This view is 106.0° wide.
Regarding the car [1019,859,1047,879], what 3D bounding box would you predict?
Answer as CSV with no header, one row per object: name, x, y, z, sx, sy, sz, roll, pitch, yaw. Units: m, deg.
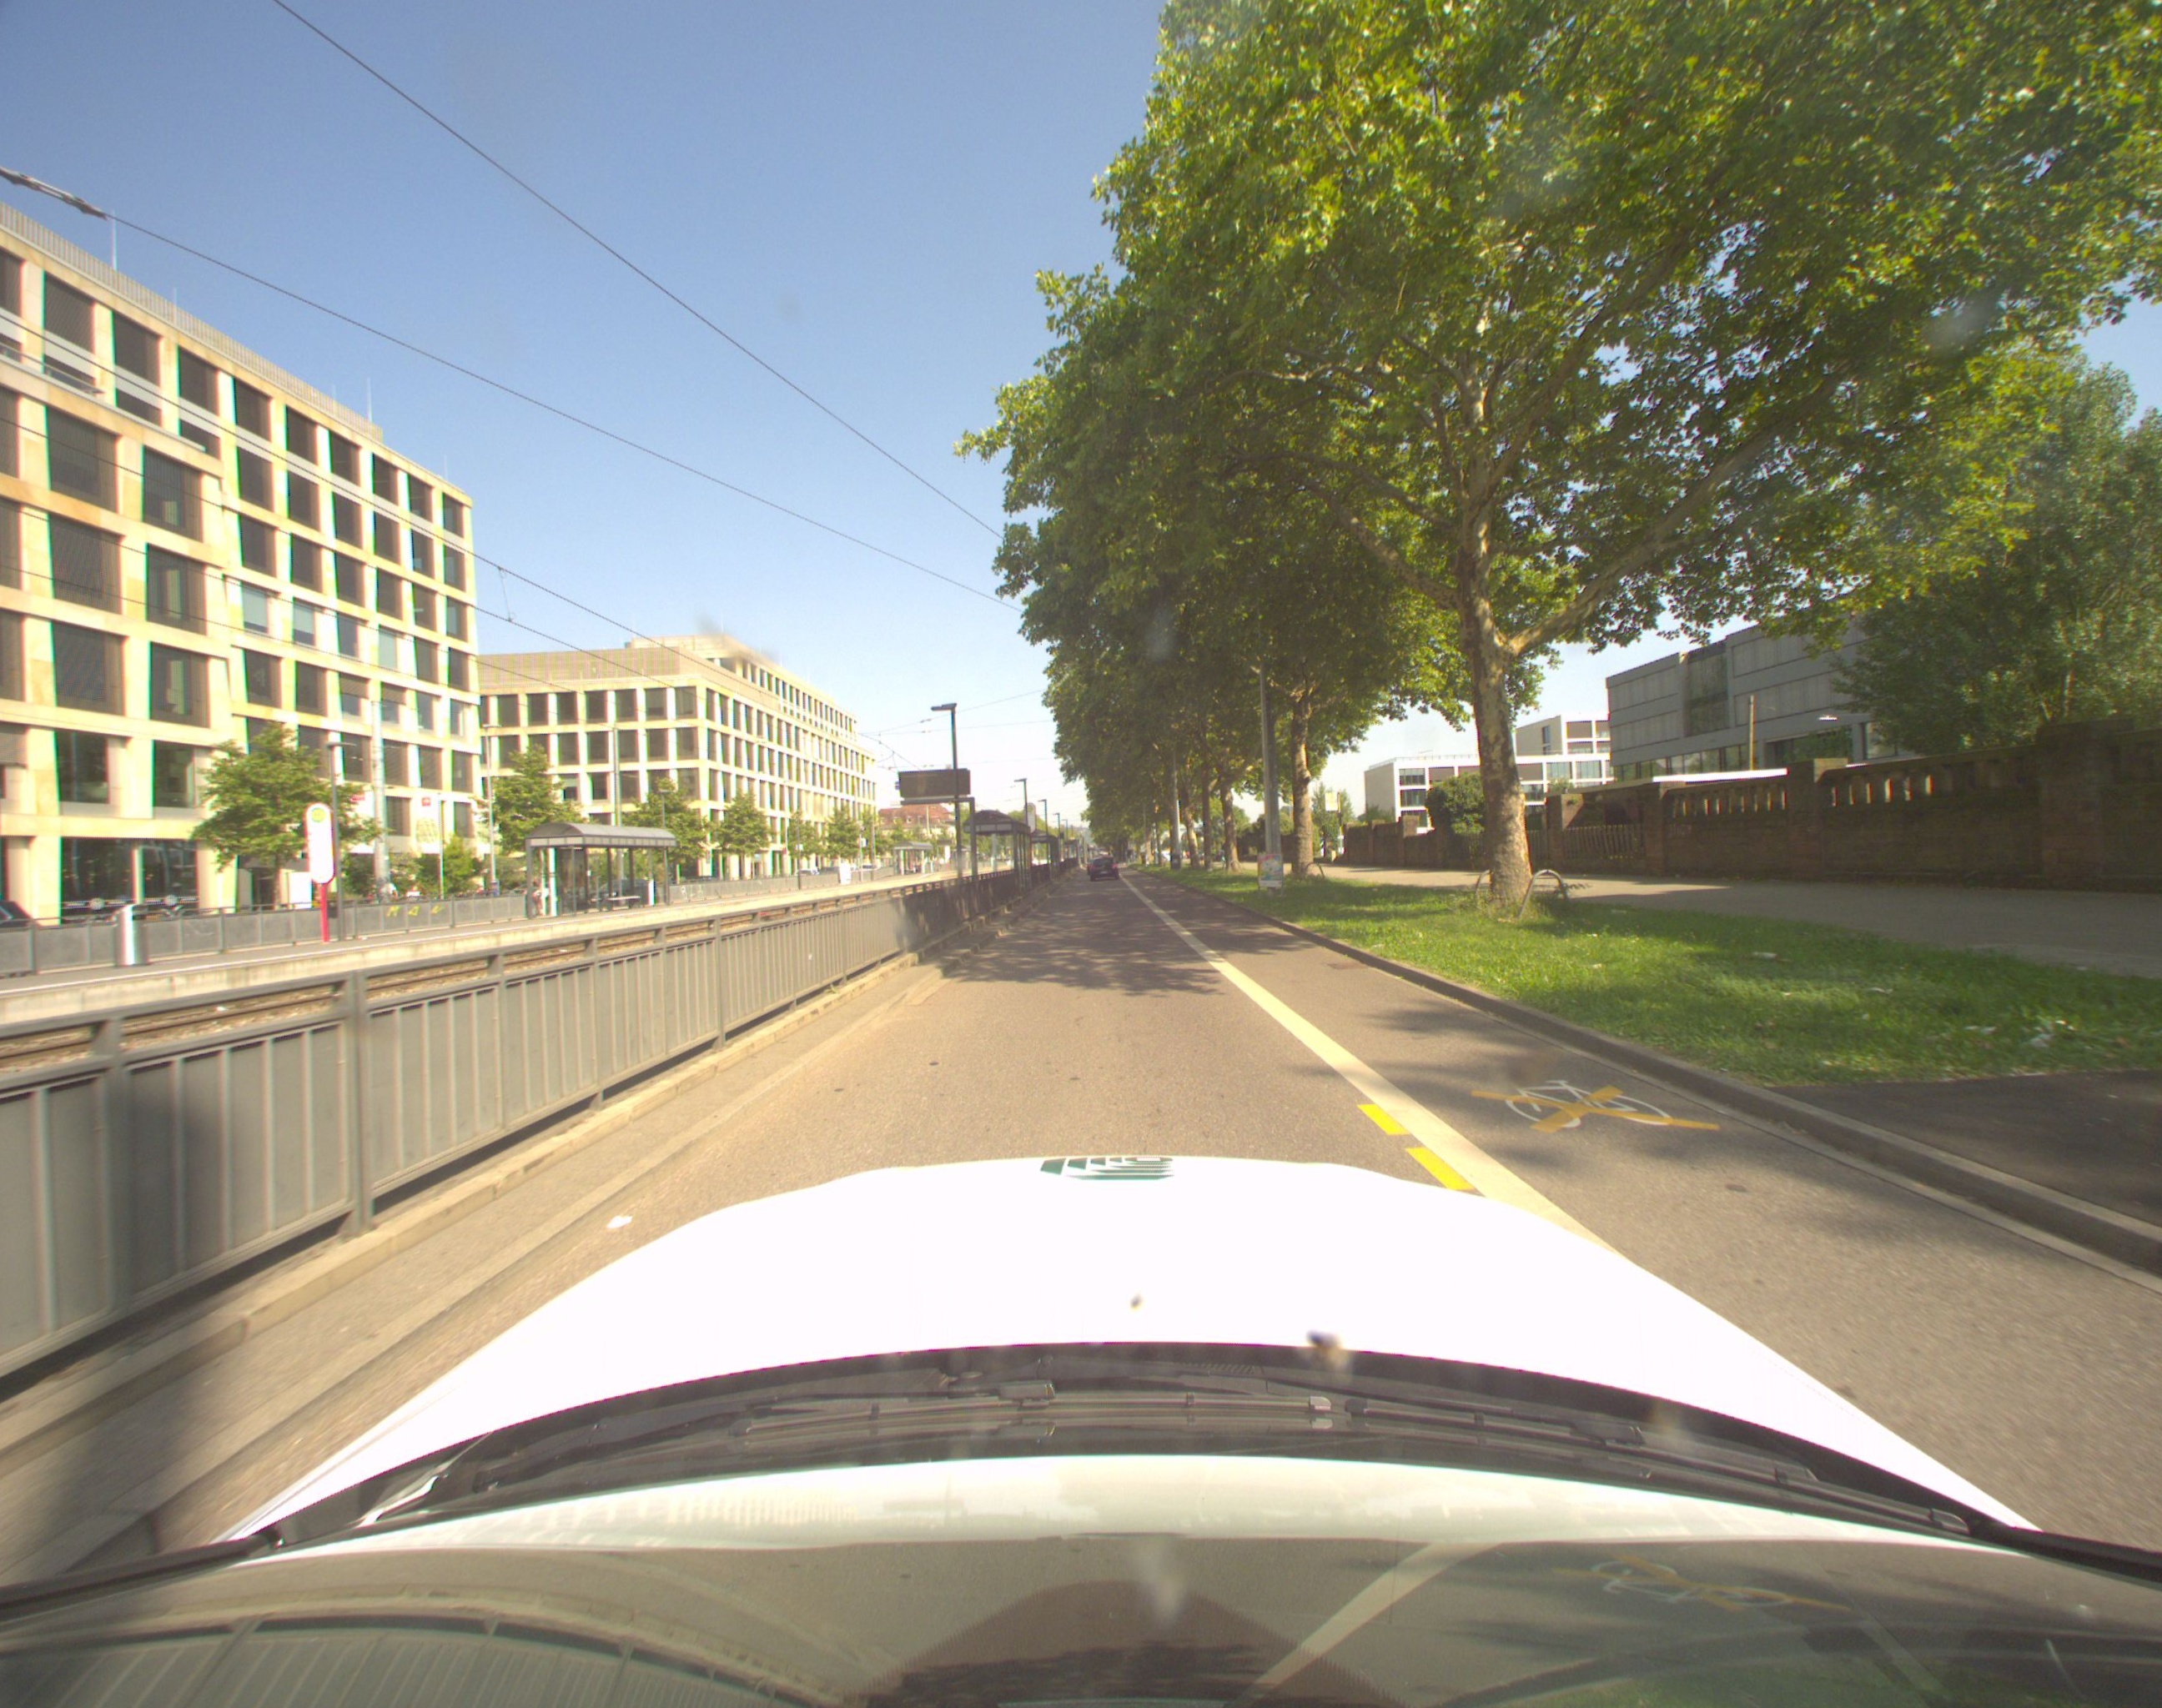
car,-4.105,1.239,70.370,1.986,1.559,4.001,-3,0,1

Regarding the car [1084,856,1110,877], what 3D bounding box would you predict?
car,1.375,1.081,70.547,1.967,1.537,4.000,-6,-1,0

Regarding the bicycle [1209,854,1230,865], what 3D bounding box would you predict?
bicycle,15.741,0.613,92.413,2.167,1.076,0.743,-3,-1,-1

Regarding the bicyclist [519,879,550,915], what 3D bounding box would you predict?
bicyclist,-22.166,1.740,33.020,0.627,1.402,0.784,-6,-2,0

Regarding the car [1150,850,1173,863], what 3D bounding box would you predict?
car,14.312,0.451,144.942,4.085,1.918,1.850,-4,-1,4

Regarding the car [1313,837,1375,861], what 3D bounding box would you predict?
car,21.894,-0.430,67.894,4.508,1.734,1.909,-3,-1,-1

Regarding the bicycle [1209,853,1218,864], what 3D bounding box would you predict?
bicycle,12.223,0.415,75.200,0.546,1.007,1.714,-3,0,2

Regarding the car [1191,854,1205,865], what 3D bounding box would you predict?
car,19.052,0.891,132.723,1.602,1.575,3.798,-4,0,2

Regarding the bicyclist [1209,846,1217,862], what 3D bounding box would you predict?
bicyclist,12.204,0.029,75.115,0.546,1.453,0.842,-3,0,1

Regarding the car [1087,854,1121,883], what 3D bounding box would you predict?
car,1.416,0.872,50.513,1.901,1.537,4.000,-4,-1,1

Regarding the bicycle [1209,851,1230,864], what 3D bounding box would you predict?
bicycle,16.437,0.420,96.932,2.237,1.277,0.998,-5,-2,0

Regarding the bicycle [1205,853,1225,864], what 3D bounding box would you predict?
bicycle,15.717,0.564,95.442,2.163,1.076,0.744,-5,-1,4

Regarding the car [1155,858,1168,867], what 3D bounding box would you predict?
car,12.955,1.355,131.608,1.721,1.448,4.552,-4,0,2

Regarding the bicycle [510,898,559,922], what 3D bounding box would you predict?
bicycle,-22.116,2.262,33.019,0.627,0.822,1.897,-6,-2,1

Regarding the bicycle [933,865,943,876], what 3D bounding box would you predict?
bicycle,-15.409,1.819,87.776,0.467,1.147,1.490,-3,-1,16

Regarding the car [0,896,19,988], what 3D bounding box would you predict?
car,-19.628,1.571,12.475,1.656,1.571,3.761,-3,0,2

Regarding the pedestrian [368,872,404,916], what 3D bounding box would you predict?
pedestrian,-31.916,1.815,37.408,0.792,1.917,0.837,-5,-2,-5
